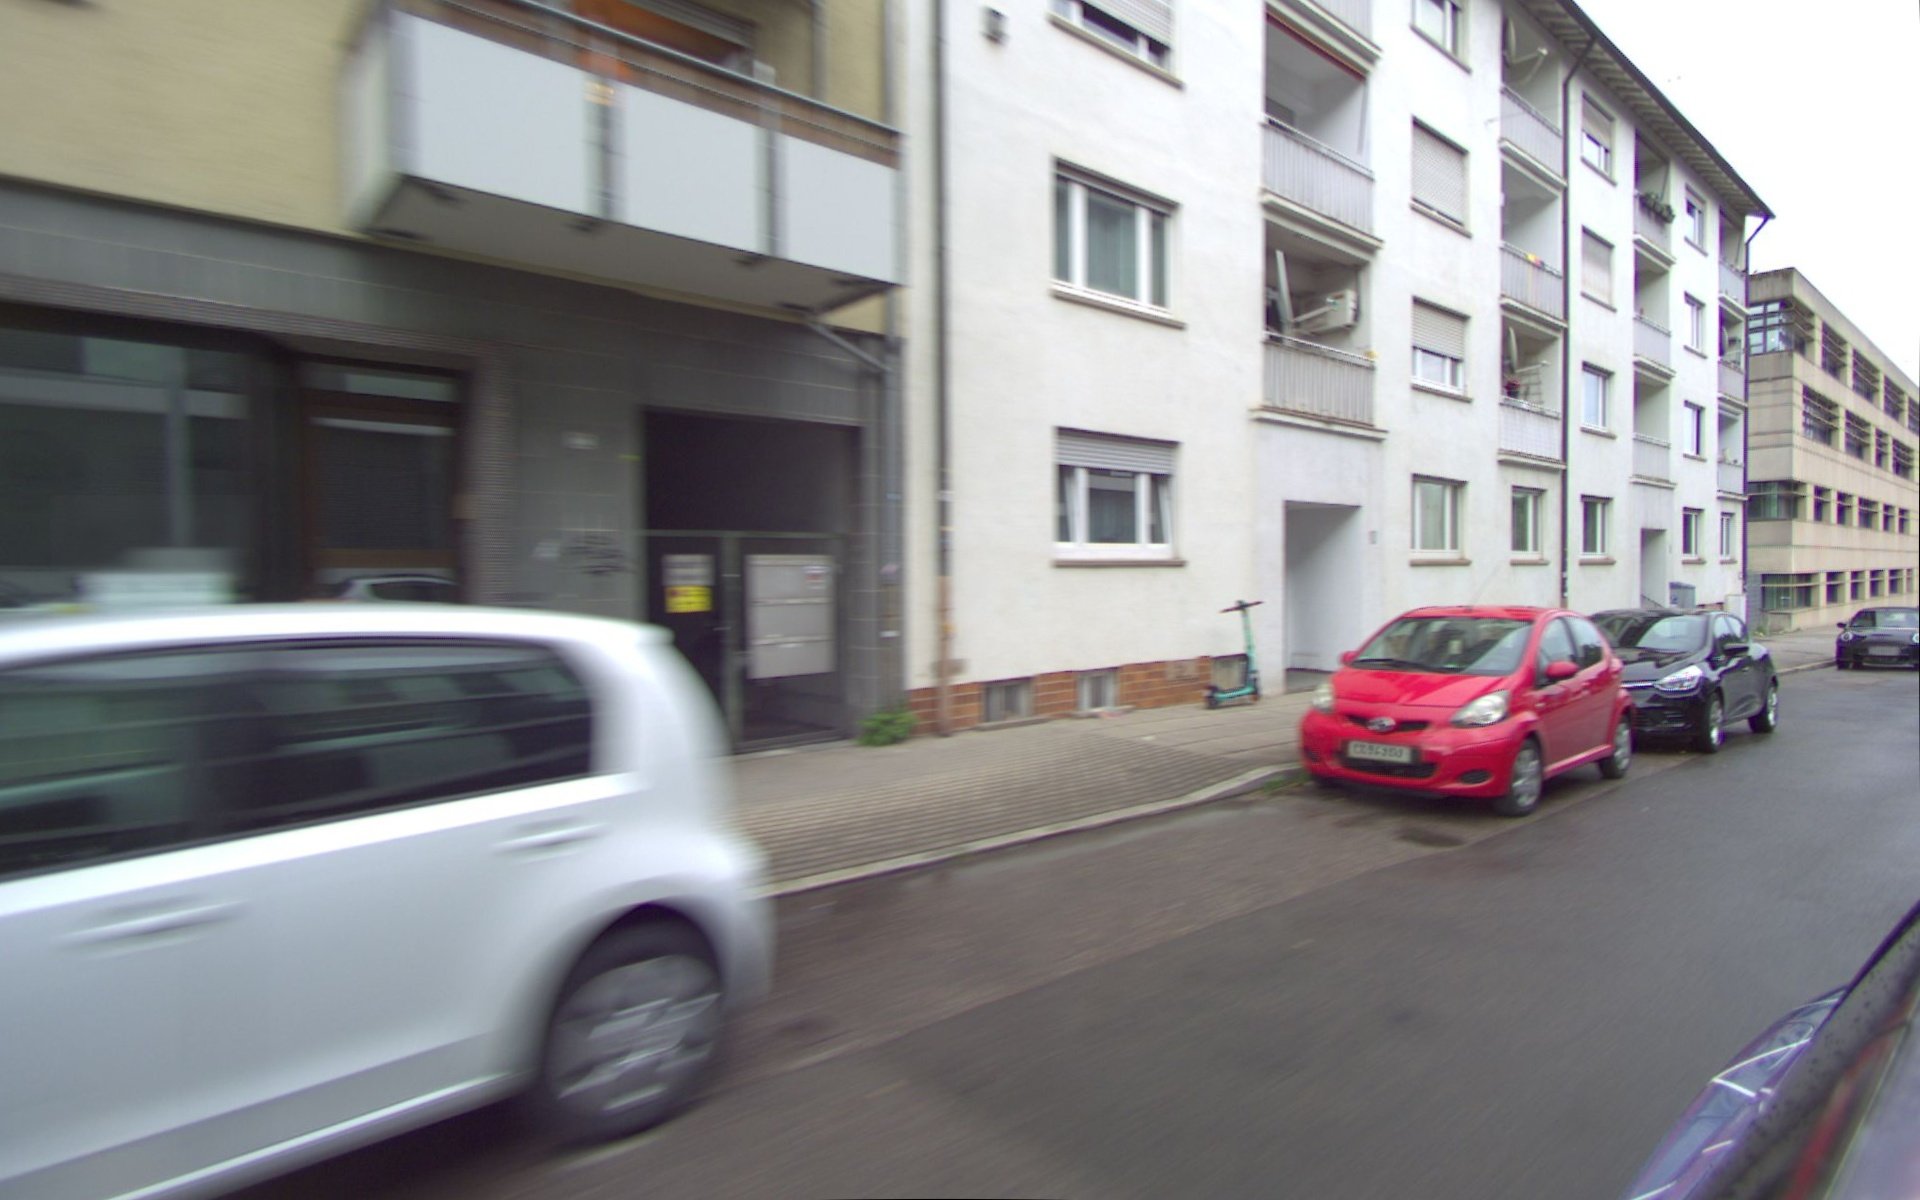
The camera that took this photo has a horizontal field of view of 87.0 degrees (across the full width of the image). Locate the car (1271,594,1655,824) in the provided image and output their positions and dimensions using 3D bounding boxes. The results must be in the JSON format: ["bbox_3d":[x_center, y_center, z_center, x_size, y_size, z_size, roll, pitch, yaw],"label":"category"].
[{"bbox_3d":[4.205,0.696,8.274,3.423,1.475,1.629,0,0,-41],"label":"car"}]

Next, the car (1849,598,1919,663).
[{"bbox_3d":[22.580,0.683,24.082,3.711,1.429,1.629,0,0,-41],"label":"car"}]

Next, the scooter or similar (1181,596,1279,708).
[{"bbox_3d":[3.172,0.578,11.842,1.297,1.247,0.444,0,0,-41],"label":"scooter or similar"}]

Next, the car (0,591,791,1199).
[{"bbox_3d":[-2.326,0.723,2.539,3.423,1.475,1.629,0,0,-41],"label":"car"}]

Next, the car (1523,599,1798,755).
[{"bbox_3d":[7.880,0.721,11.273,3.711,1.429,1.629,0,0,-41],"label":"car"}]
